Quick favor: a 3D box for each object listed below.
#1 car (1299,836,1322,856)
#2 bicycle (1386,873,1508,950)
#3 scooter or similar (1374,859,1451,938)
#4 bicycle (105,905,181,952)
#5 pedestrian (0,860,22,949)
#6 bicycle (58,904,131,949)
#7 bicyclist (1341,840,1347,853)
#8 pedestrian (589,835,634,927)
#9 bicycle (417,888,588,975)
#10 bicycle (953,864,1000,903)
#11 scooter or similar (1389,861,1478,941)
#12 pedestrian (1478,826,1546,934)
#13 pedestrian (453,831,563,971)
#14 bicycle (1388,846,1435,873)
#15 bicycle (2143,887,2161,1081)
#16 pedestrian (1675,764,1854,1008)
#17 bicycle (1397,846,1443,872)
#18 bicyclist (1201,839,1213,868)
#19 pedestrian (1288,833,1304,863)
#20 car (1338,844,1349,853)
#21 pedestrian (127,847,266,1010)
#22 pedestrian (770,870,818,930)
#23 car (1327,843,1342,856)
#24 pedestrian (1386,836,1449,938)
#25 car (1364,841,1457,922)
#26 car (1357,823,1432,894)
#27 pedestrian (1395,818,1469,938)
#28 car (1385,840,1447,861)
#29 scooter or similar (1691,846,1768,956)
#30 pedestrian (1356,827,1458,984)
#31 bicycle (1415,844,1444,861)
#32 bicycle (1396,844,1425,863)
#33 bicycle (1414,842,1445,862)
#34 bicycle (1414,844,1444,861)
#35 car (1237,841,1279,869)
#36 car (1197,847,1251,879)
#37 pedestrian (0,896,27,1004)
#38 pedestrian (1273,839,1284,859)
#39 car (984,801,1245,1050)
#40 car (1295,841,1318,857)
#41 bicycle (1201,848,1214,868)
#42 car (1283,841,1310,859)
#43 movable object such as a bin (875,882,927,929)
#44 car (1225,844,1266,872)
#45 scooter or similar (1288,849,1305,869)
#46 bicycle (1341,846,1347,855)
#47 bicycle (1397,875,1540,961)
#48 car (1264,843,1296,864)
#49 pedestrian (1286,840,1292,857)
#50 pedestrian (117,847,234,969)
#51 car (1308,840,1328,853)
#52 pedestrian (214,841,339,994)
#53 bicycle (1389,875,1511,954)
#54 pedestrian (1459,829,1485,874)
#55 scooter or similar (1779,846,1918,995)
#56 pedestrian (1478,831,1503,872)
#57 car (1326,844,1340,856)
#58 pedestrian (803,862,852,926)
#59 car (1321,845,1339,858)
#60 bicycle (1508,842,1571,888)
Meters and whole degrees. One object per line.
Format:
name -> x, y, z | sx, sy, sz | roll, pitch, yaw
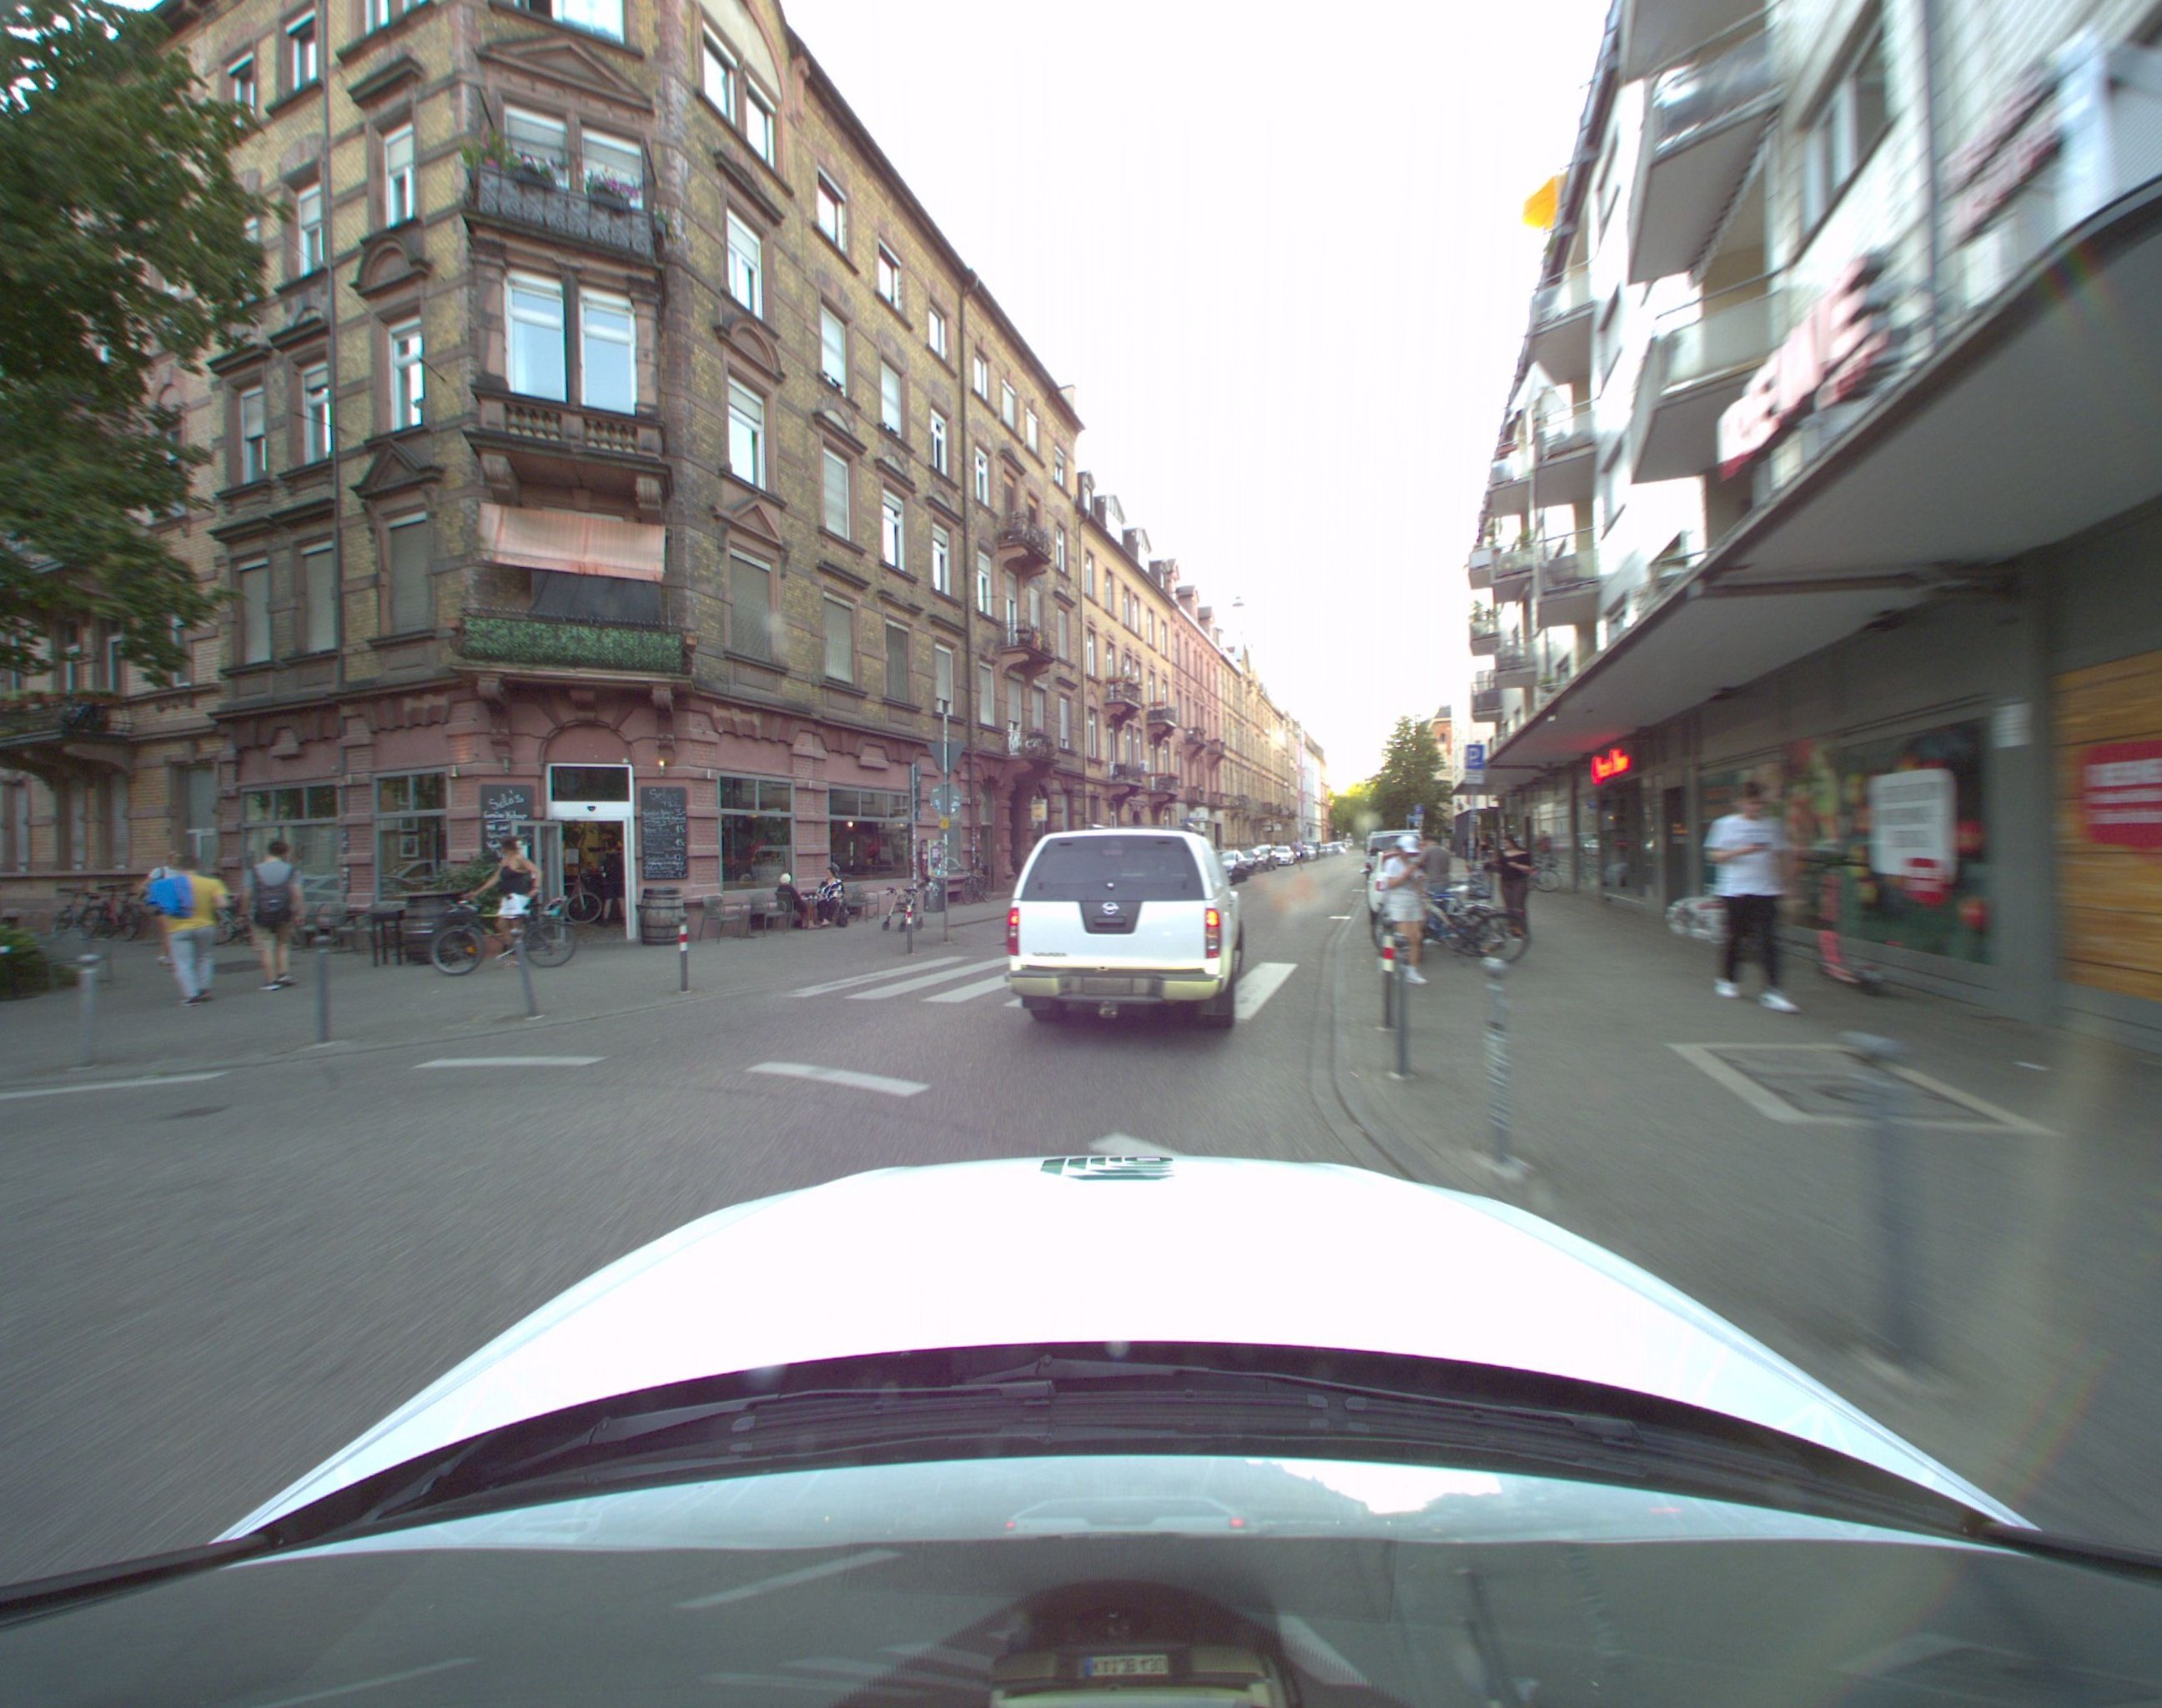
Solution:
car -> 22.954, -0.843, 81.398 | 1.977, 1.923, 4.975 | 1, 1, 19
bicycle -> 5.087, 0.803, 11.346 | 1.465, 1.002, 0.514 | -3, -2, 28
scooter or similar -> 5.489, 0.713, 13.481 | 1.167, 1.171, 0.532 | -4, 2, -30
bicycle -> -19.282, 1.509, 16.745 | 1.477, 0.889, 0.602 | -1, 0, 24
pedestrian -> -21.492, 1.004, 15.859 | 0.843, 1.724, 0.698 | -1, 3, 17
bicycle -> -21.131, 1.529, 17.441 | 1.477, 0.889, 0.602 | -1, 0, 24
bicyclist -> 31.618, -0.894, 97.954 | 0.639, 1.621, 0.922 | -3, 0, 18
pedestrian -> -9.106, 0.500, 15.807 | 0.666, 1.695, 0.652 | -1, 4, -25
bicycle -> -7.919, 1.040, 11.233 | 1.775, 1.025, 0.609 | -2, 2, -19
bicycle -> -3.049, 0.835, 23.903 | 0.421, 1.053, 1.909 | -1, 0, 25
scooter or similar -> 5.481, 0.730, 12.705 | 1.151, 1.171, 0.539 | -3, 1, 14
pedestrian -> 6.776, 0.400, 12.810 | 0.565, 1.631, 0.718 | -3, 0, -40
pedestrian -> -8.016, 0.623, 11.442 | 1.022, 1.854, 0.720 | -2, 2, -19
bicycle -> 15.126, 0.259, 37.341 | 0.659, 1.134, 1.925 | -3, -1, -31
bicycle -> 5.653, 0.688, 3.481 | 0.452, 1.024, 1.792 | -1, 0, 20
pedestrian -> 5.849, 0.262, 7.063 | 0.754, 1.912, 1.196 | -4, -1, 22
bicycle -> 15.796, 0.255, 38.011 | 0.659, 1.134, 1.925 | -3, -1, -31
bicyclist -> 7.748, -0.034, 50.031 | 0.704, 1.729, 0.844 | 0, -1, 6
pedestrian -> 12.224, -0.350, 46.297 | 0.800, 1.660, 0.676 | -2, 0, 21
car -> 43.251, -0.893, 134.221 | 1.684, 1.426, 4.041 | 0, 1, 19
pedestrian -> -10.365, 0.834, 9.564 | 0.778, 1.790, 0.762 | -1, 3, 19
pedestrian -> -5.730, 0.903, 16.260 | 0.499, 1.143, 0.795 | -1, -1, 23
car -> 35.214, -0.613, 113.201 | 1.830, 1.659, 4.273 | -2, 0, 18
pedestrian -> 5.488, 0.524, 13.302 | 0.647, 1.600, 0.588 | -3, -1, -19
car -> 6.903, 0.519, 17.338 | 1.579, 1.501, 3.440 | -3, 0, 19
car -> 10.082, 0.096, 26.129 | 1.942, 1.973, 5.029 | -3, 0, 22
pedestrian -> 5.381, 0.364, 12.501 | 0.735, 1.756, 0.662 | -3, -1, -7
car -> 27.169, -0.269, 66.224 | 4.390, 1.455, 1.787 | -3, 0, 15
scooter or similar -> 7.790, 0.529, 9.771 | 1.170, 1.203, 0.530 | -2, 1, -43
pedestrian -> 3.662, 0.558, 9.209 | 0.660, 1.651, 0.883 | -4, -1, -2
bicycle -> 23.206, -0.105, 54.242 | 1.707, 1.054, 0.657 | -4, -1, 24
bicycle -> 21.625, -0.048, 53.481 | 1.707, 1.118, 0.711 | -4, -1, 24
bicycle -> 22.520, -0.125, 52.678 | 1.712, 1.132, 0.580 | -3, -1, 9
bicycle -> 22.928, -0.094, 53.626 | 1.707, 1.054, 0.657 | -4, -1, 24
car -> 11.070, 0.010, 50.750 | 1.837, 1.633, 4.469 | 0, 1, 21
car -> 6.993, 0.397, 39.592 | 1.708, 1.420, 4.606 | 0, 1, 21
pedestrian -> -13.622, 1.201, 9.861 | 0.784, 1.305, 0.739 | -2, 2, 17
pedestrian -> 17.682, -0.412, 72.809 | 0.549, 1.755, 1.029 | -1, -1, 39
car -> 0.747, 0.517, 8.831 | 1.898, 1.853, 5.288 | 0, 0, 12
car -> 21.211, -0.475, 76.438 | 1.769, 1.422, 4.508 | 1, 1, 19
bicycle -> 7.749, 0.246, 49.999 | 0.704, 1.196, 1.745 | 0, -1, 6
car -> 18.316, -0.371, 69.227 | 1.702, 1.457, 4.022 | 0, 1, 22
movable object such as a bin -> -3.672, 1.031, 16.661 | 0.755, 0.916, 0.733 | -1, -1, 18
car -> 9.243, 0.194, 45.542 | 1.571, 1.420, 3.716 | 0, 1, 22
scooter or similar -> 12.247, 0.268, 46.298 | 0.800, 1.104, 1.178 | -2, 0, 21
bicycle -> 31.636, -0.396, 97.940 | 0.639, 1.081, 2.179 | -3, 0, 18
bicycle -> 4.833, 0.802, 10.249 | 1.535, 1.001, 0.513 | -3, -2, 18
car -> 14.753, -0.067, 60.277 | 1.743, 1.411, 4.532 | 0, 1, 21
pedestrian -> 23.186, -0.623, 90.681 | 0.575, 1.771, 1.002 | 2, 2, 17
pedestrian -> -14.171, 0.819, 12.766 | 1.038, 1.811, 0.759 | -1, 3, 16
car -> 26.192, -0.833, 89.875 | 1.722, 1.418, 4.803 | 0, 0, 21
pedestrian -> -10.224, 0.771, 10.366 | 0.877, 1.828, 0.763 | 0, 3, 23
bicycle -> 4.908, 0.807, 10.910 | 1.406, 0.984, 0.513 | -3, -2, 18
pedestrian -> 16.403, -0.116, 34.171 | 0.701, 1.828, 0.866 | -4, -2, 39
scooter or similar -> 6.977, 0.550, 7.480 | 0.473, 1.218, 1.634 | -3, -1, 28
pedestrian -> 16.905, -0.110, 33.628 | 0.701, 1.665, 0.749 | -4, -2, 39
car -> 33.359, -0.562, 107.751 | 1.622, 1.565, 3.801 | 0, 1, 20
pedestrian -> -5.337, 0.825, 17.186 | 0.644, 1.254, 0.910 | 2, 1, 6
car -> 30.179, -0.363, 98.616 | 1.818, 1.457, 4.229 | 2, 1, 21
bicycle -> 12.801, 0.311, 22.783 | 0.905, 1.196, 1.715 | -4, -1, 8
